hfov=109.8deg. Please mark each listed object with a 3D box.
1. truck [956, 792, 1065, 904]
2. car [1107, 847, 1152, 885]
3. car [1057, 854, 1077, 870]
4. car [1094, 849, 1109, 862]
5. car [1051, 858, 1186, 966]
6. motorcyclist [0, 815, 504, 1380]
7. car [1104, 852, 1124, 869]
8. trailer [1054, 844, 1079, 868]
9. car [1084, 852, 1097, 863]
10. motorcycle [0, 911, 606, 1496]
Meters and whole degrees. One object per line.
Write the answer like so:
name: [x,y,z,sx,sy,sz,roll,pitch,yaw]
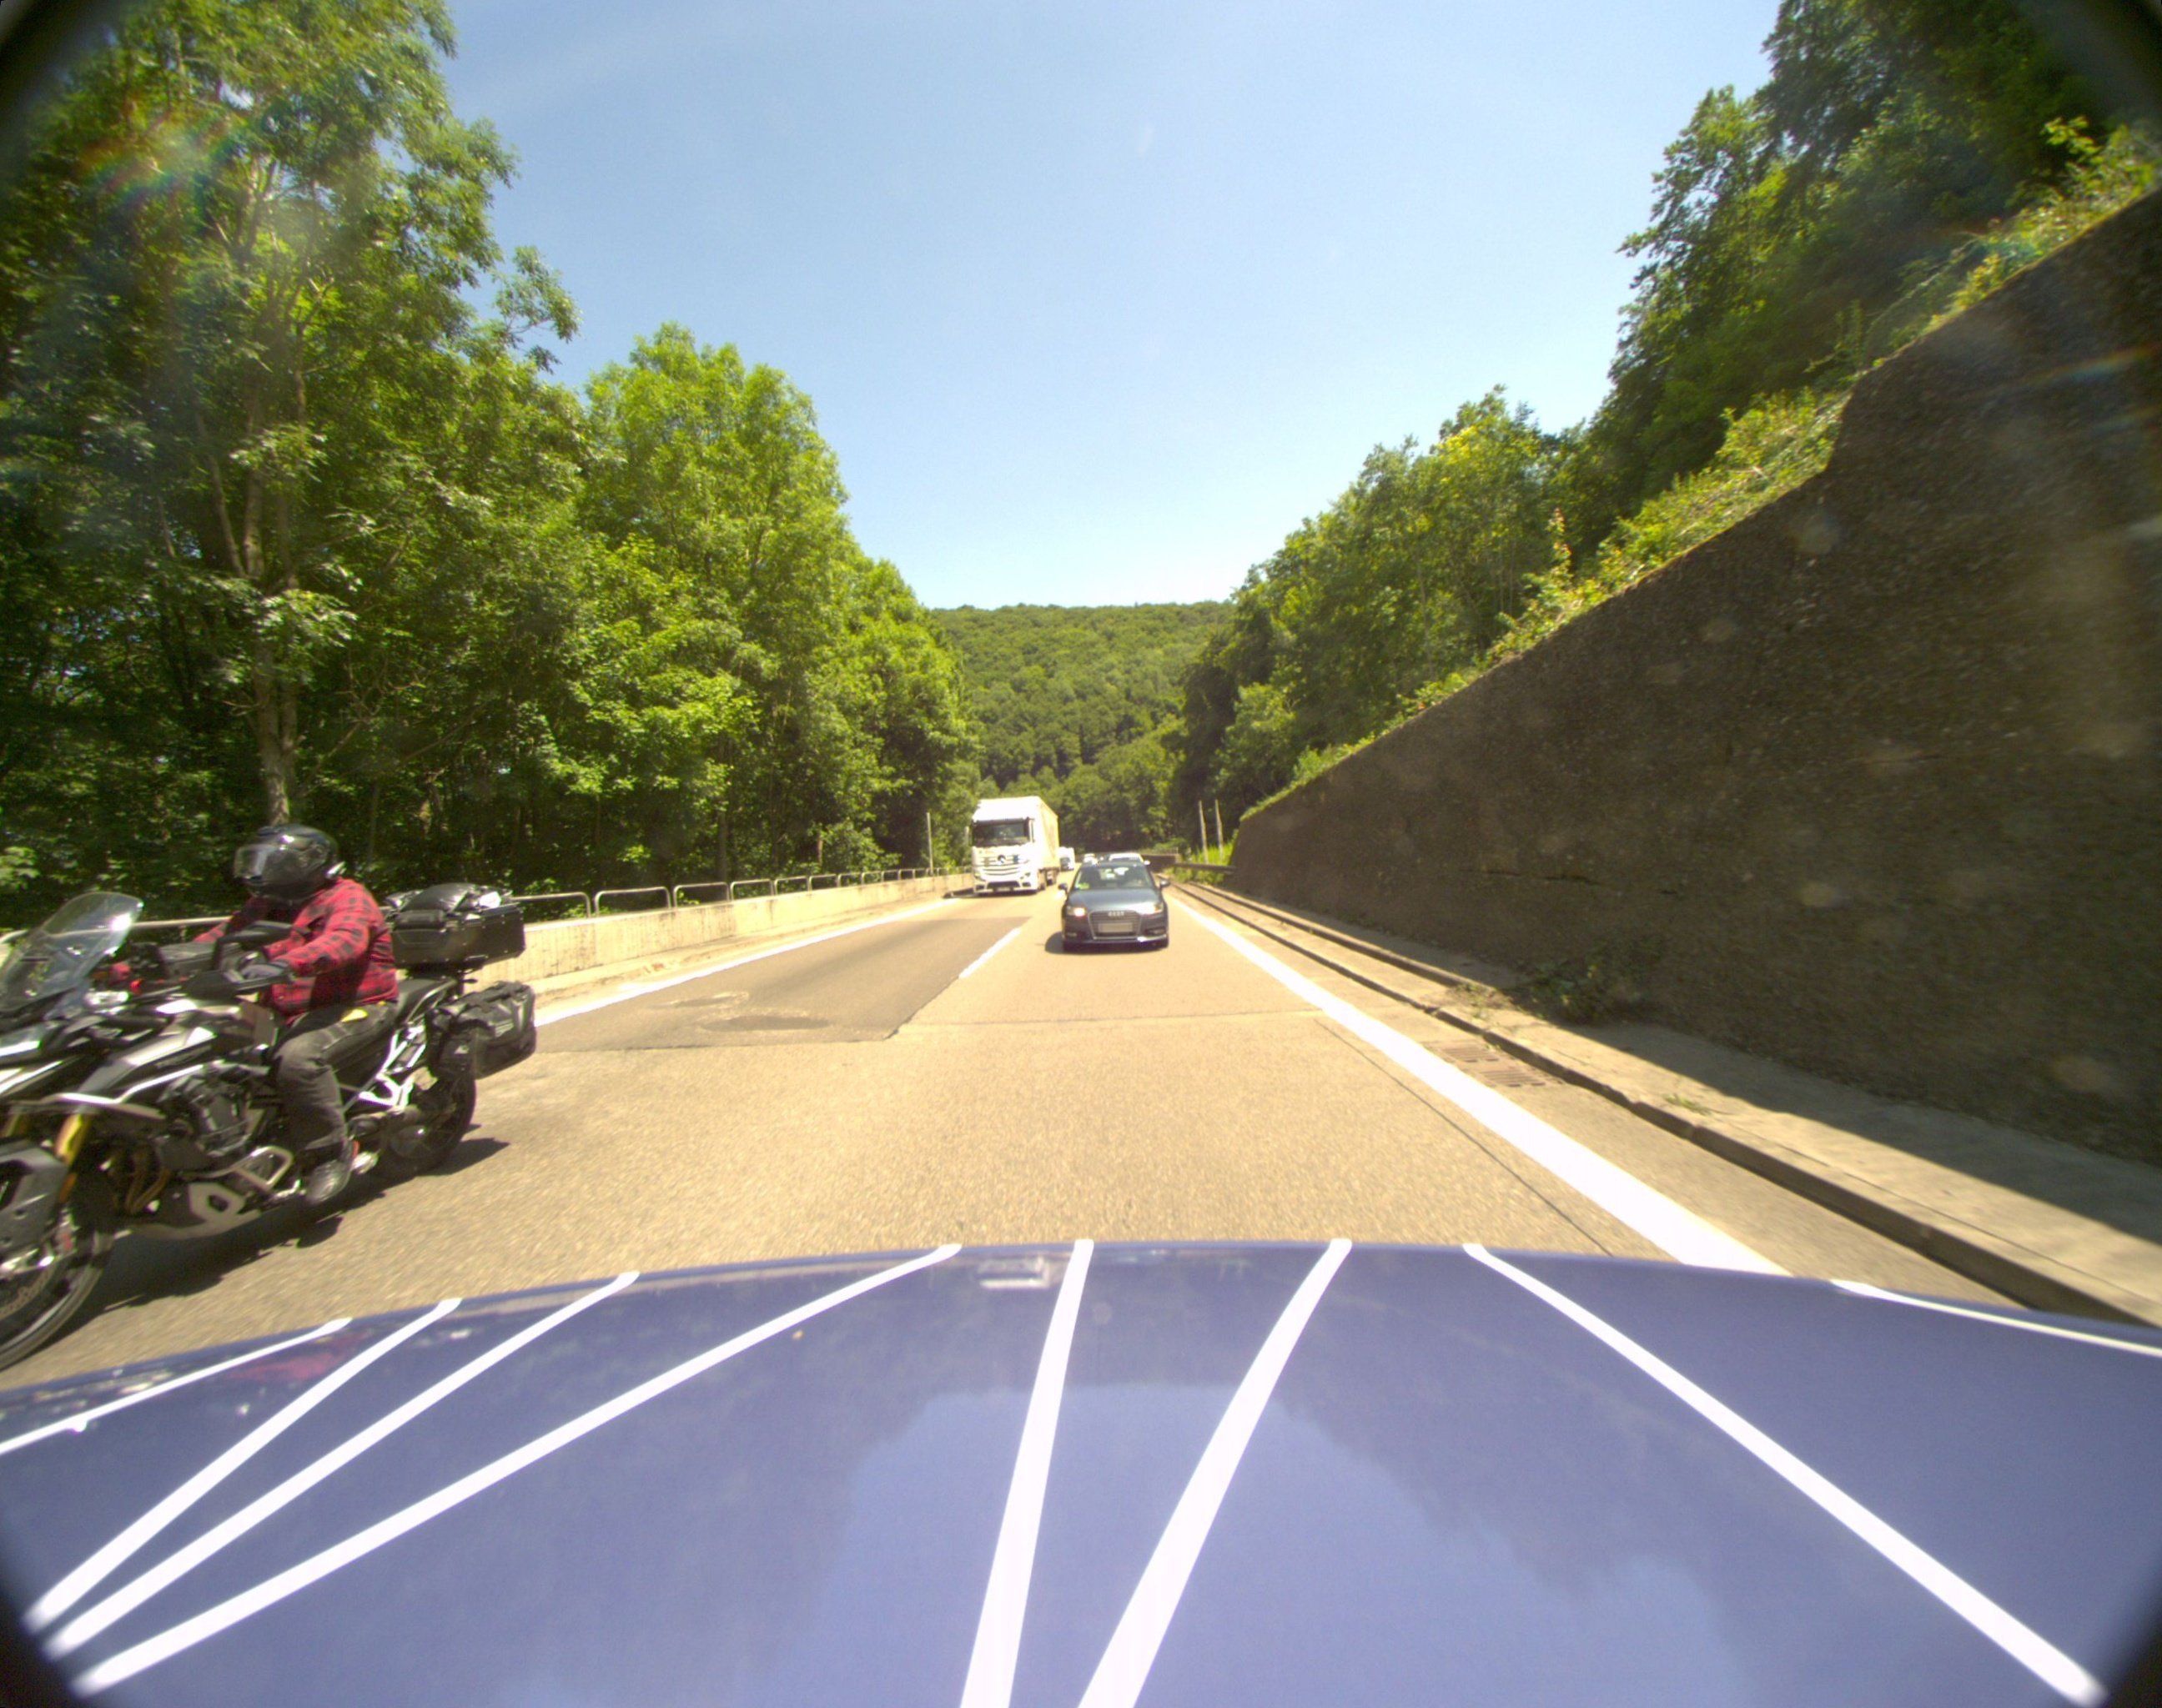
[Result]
truck: [-2.814,-0.321,36.930,2.968,4.109,16.707,-2,1,2]
car: [2.011,0.462,32.227,1.755,1.460,3.982,-2,0,2]
car: [-1.544,0.823,83.551,1.999,1.652,3.999,-2,0,-2]
car: [2.592,0.180,97.276,1.618,1.487,3.655,-4,0,-3]
car: [0.538,0.787,12.168,1.755,1.350,4.122,-2,0,1]
motorcyclist: [-3.448,0.786,3.096,1.063,1.790,1.338,-2,1,4]
car: [2.969,0.556,68.910,1.755,1.480,3.982,-2,0,2]
trailer: [-1.698,0.170,92.278,2.527,2.694,9.504,-2,0,1]
car: [1.346,0.522,111.280,1.619,1.487,3.654,-2,0,-4]
motorcycle: [-3.400,1.062,3.167,0.975,1.411,2.681,-2,0,4]
